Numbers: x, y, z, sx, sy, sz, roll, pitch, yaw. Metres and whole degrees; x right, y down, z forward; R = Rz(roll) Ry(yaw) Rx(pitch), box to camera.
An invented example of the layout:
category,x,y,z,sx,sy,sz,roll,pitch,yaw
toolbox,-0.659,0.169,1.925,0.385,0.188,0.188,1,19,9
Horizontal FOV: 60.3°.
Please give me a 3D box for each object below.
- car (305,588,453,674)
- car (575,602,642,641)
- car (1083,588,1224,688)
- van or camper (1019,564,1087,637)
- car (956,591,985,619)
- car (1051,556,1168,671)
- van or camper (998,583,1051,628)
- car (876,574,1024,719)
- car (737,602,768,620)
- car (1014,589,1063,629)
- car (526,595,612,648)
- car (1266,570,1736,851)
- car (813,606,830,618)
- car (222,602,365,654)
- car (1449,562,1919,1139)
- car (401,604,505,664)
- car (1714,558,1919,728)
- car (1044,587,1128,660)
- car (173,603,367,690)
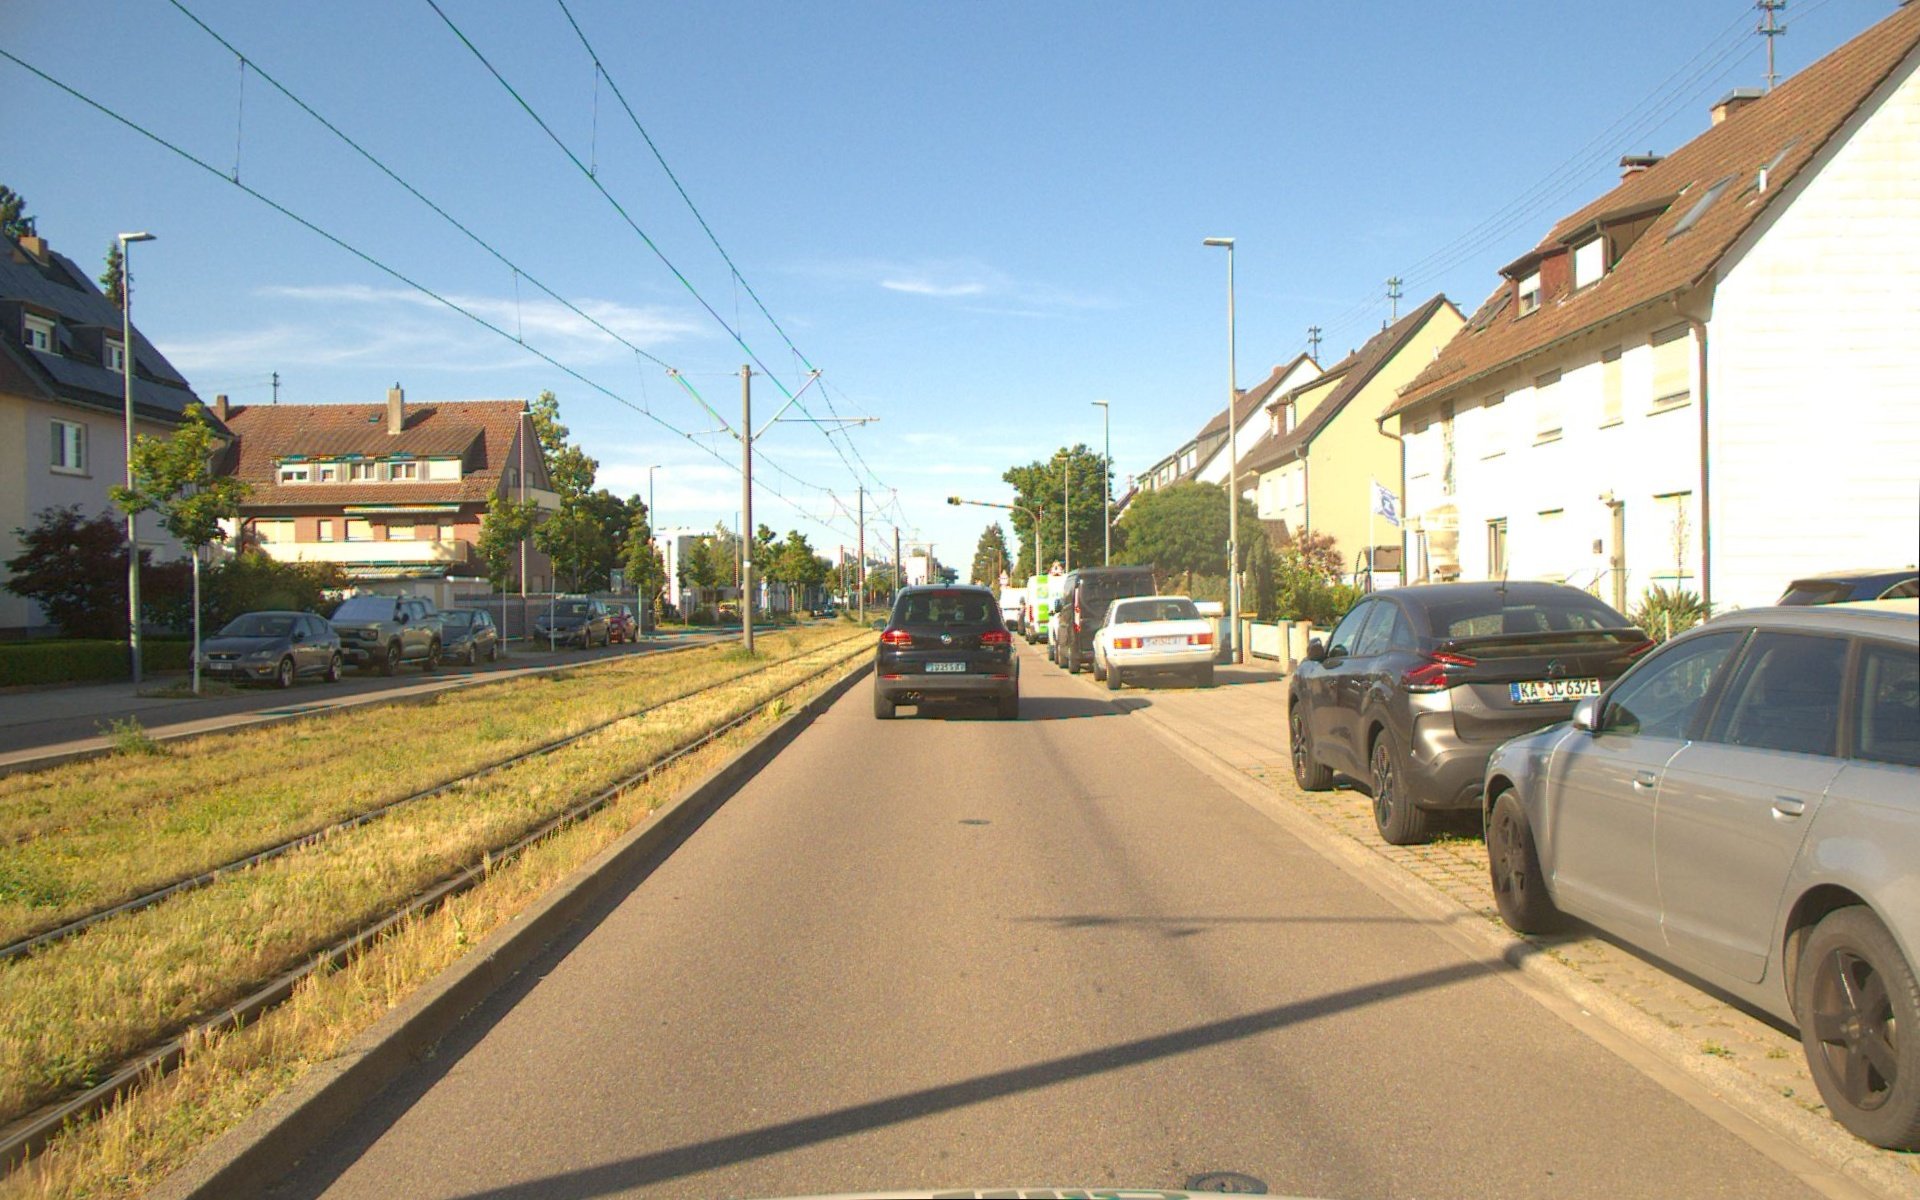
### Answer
category,x,y,z,sx,sy,sz,roll,pitch,yaw
car,-13.498,0.675,38.725,1.709,1.855,4.841,1,0,0
car,-13.504,0.796,63.750,1.660,1.429,4.079,-1,0,1
car,3.210,0.579,28.503,1.814,1.469,5.614,-3,0,1
van or camper,3.188,0.041,57.606,1.953,2.310,6.304,-2,0,0
car,0.701,0.348,113.923,1.596,1.860,4.127,-1,0,-4
car,3.061,0.272,34.938,1.920,2.181,5.335,-2,0,0
van or camper,3.085,0.243,78.275,1.985,1.990,5.299,-1,0,8
car,-0.180,0.569,21.662,1.740,1.699,3.998,1,0,-2
car,-18.023,0.983,143.747,1.772,1.486,4.319,1,0,4
car,3.194,0.382,67.998,1.713,1.520,5.155,-2,0,0
car,-13.595,0.724,57.791,1.782,1.714,4.846,1,0,0
car,3.428,0.605,11.513,1.741,1.525,4.728,-1,0,0
car,-17.343,1.515,207.040,1.653,1.413,4.388,-2,0,2
car,-19.759,0.828,49.140,3.561,1.487,1.690,1,-1,-5
car,3.313,0.620,5.783,1.713,1.472,4.698,-2,1,-1
car,-13.580,0.883,44.493,1.642,1.517,4.048,1,0,-2
car,10.712,0.427,17.672,4.327,1.684,2.195,0,0,-4
car,3.073,0.564,41.060,1.690,1.674,4.318,-2,0,0
car,-13.548,0.878,32.800,1.920,1.567,4.556,1,0,0
